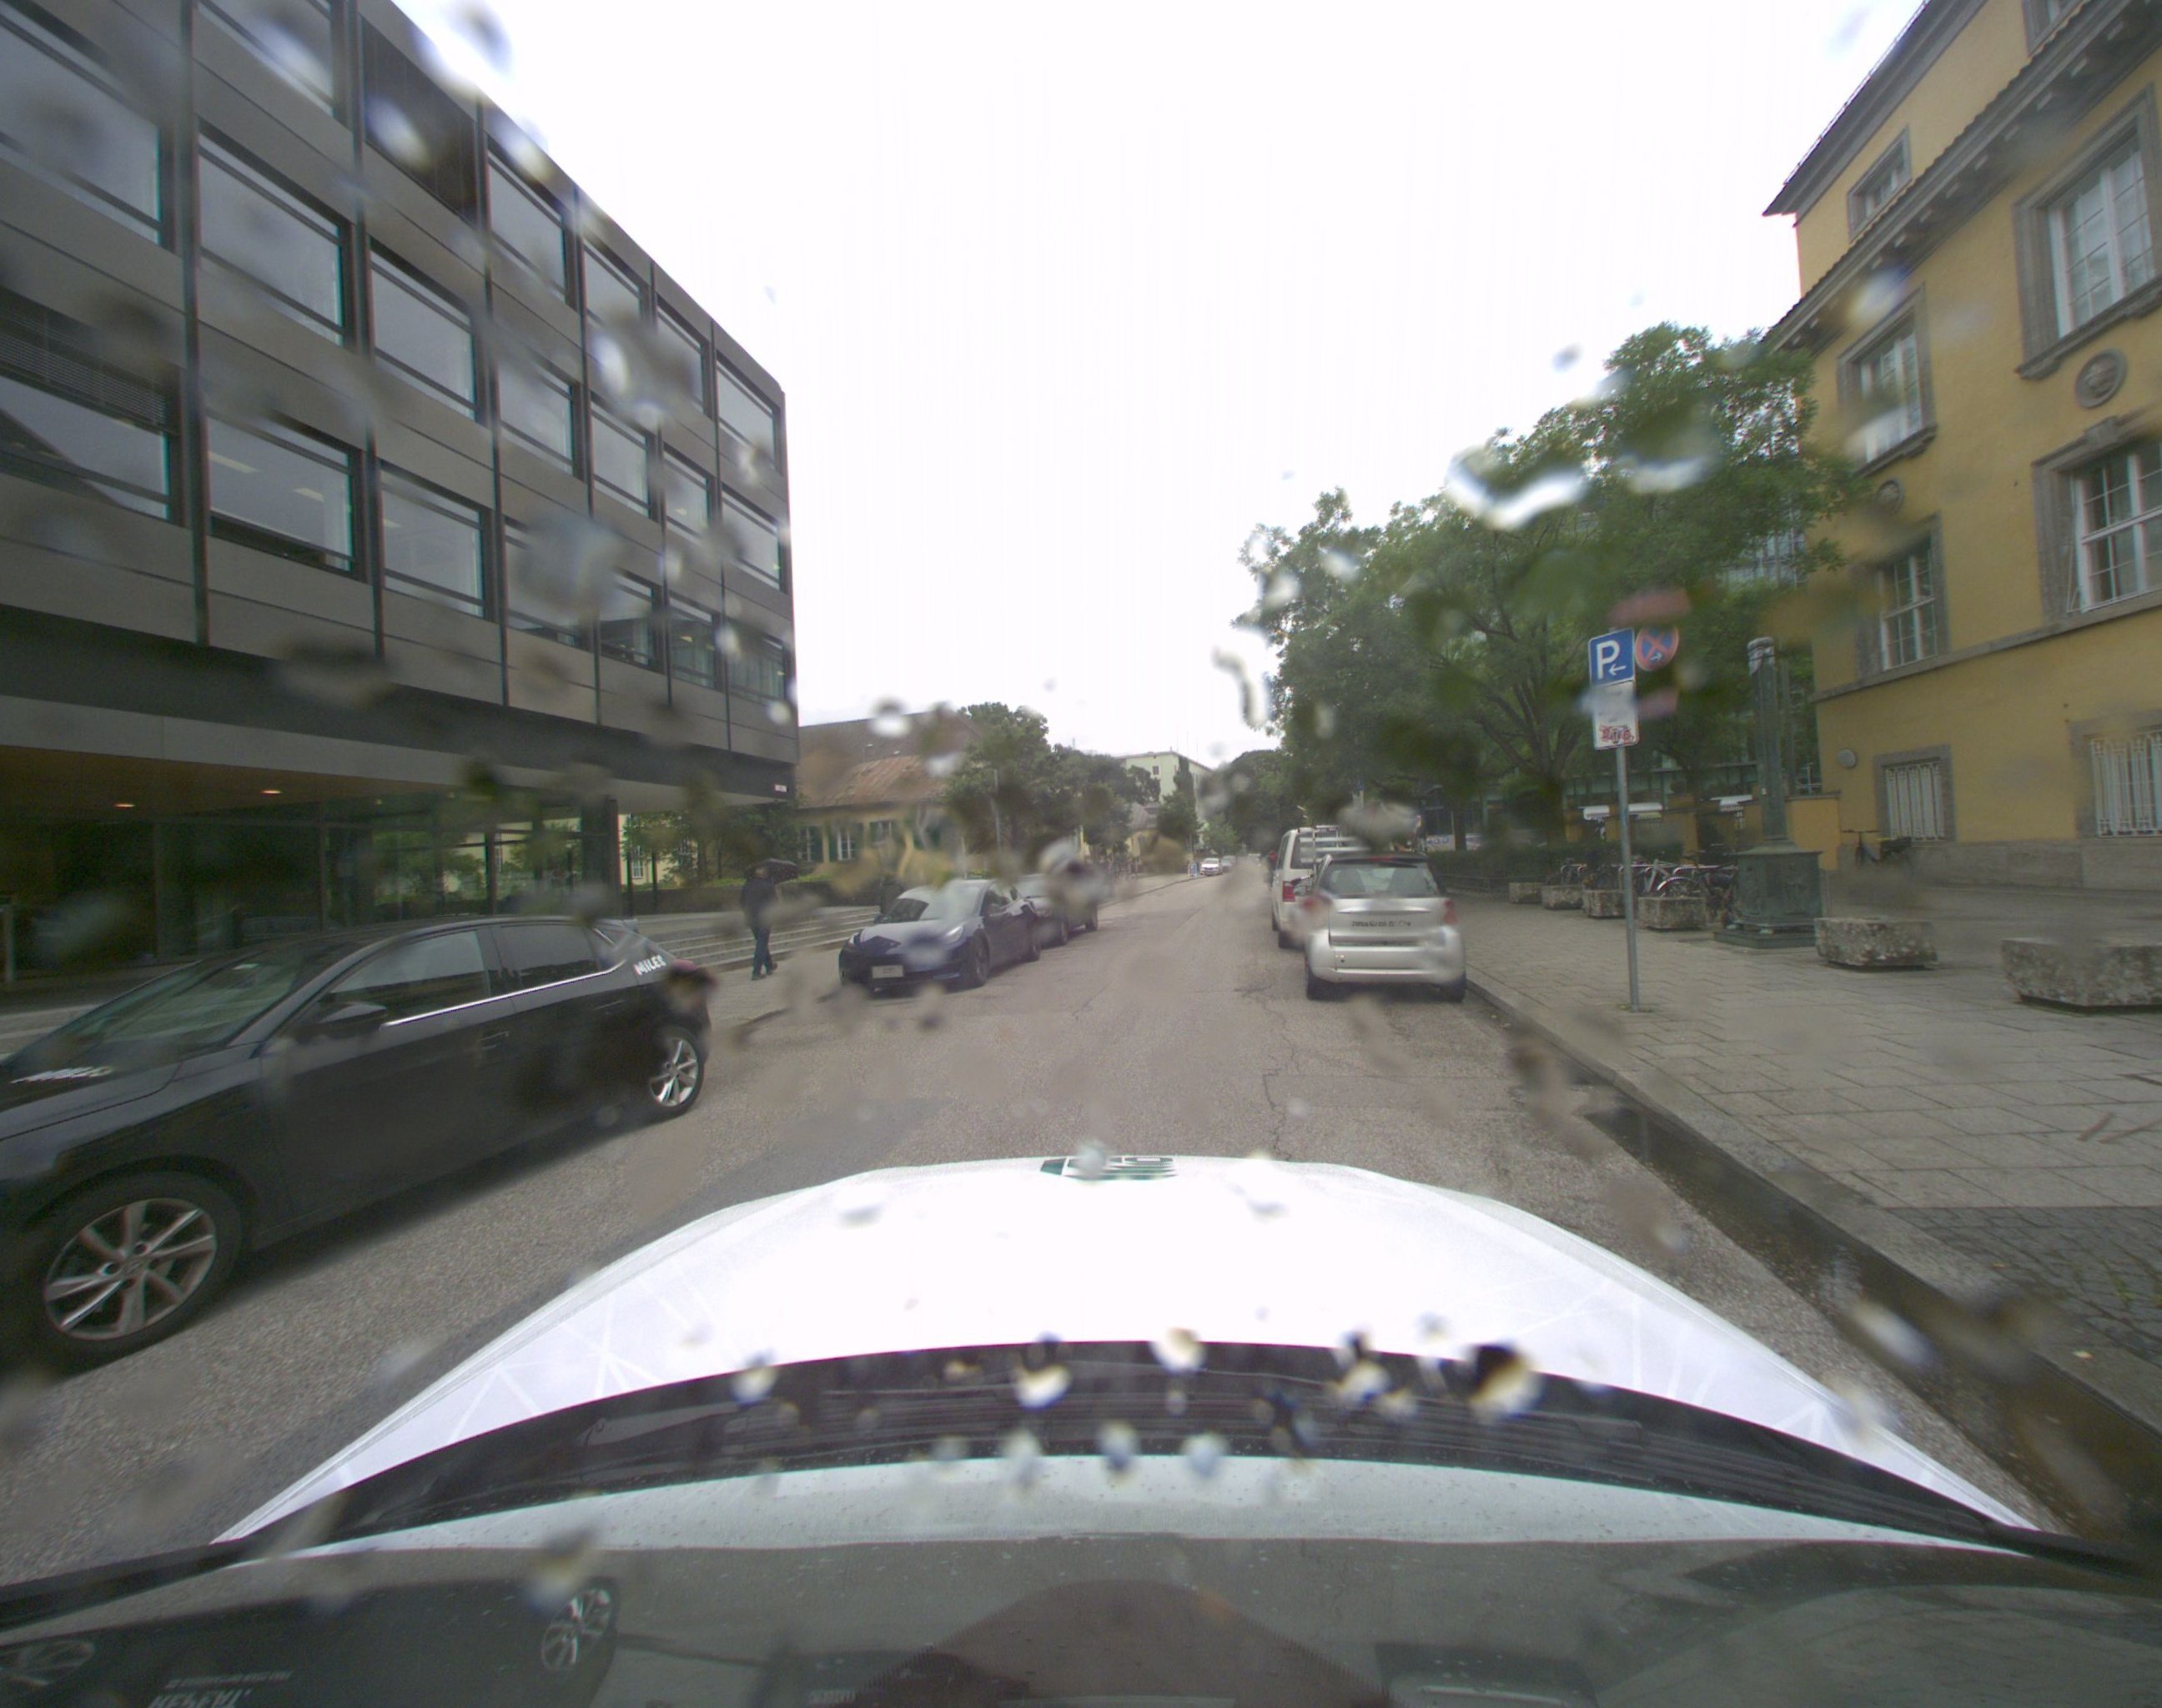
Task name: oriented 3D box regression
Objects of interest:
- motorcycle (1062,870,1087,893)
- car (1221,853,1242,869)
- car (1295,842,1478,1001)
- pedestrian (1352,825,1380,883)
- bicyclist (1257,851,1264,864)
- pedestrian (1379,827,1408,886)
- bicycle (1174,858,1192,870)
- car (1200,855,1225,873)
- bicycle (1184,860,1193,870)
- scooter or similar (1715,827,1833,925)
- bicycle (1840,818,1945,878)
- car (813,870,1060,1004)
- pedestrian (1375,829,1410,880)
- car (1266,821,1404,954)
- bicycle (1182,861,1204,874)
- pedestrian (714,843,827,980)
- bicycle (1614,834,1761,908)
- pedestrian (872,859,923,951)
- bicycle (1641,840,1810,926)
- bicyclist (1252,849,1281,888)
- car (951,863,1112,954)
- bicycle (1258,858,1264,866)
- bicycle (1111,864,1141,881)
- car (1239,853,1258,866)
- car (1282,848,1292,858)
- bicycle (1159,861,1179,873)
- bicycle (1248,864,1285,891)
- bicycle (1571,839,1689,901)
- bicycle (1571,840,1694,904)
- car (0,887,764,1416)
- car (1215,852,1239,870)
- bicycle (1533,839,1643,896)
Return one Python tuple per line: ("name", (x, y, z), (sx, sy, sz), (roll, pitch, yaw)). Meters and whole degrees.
("motorcycle", (-0.322, 1.353, 40.762), (0.559, 1.101, 1.824), (-2, -1, -24))
("car", (16.580, 0.808, 89.574), (1.979, 1.603, 4.015), (-3, -1, 14))
("car", (3.399, 0.666, 9.531), (1.594, 1.546, 2.944), (-1, 0, 13))
("pedestrian", (10.983, 0.010, 31.382), (0.737, 2.135, 1.059), (-4, -1, 12))
("bicyclist", (22.595, 0.477, 102.588), (0.738, 1.576, 0.980), (-4, -1, 11))
("pedestrian", (11.814, 0.091, 30.828), (0.737, 2.135, 1.059), (-4, -1, 12))
("bicycle", (9.902, 0.998, 79.209), (1.622, 1.004, 0.618), (-6, 0, -27))
("car", (11.726, 0.878, 72.275), (1.720, 1.581, 3.803), (0, 0, 16))
("bicycle", (11.132, 1.182, 84.458), (0.616, 1.004, 1.626), (-3, -2, 19))
("scooter or similar", (9.243, 0.296, 10.886), (0.540, 1.222, 1.002), (-4, -1, -32))
("bicycle", (16.880, -0.124, 17.012), (0.538, 1.154, 1.908), (-4, 0, 12))
("car", (-1.860, 1.069, 12.380), (1.910, 1.439, 4.933), (-5, -2, 11))
("pedestrian", (12.265, 0.024, 32.080), (1.062, 1.907, 0.736), (-3, -1, -42))
("car", (4.313, 0.491, 14.568), (1.833, 1.933, 5.290), (-1, 0, 12))
("bicycle", (9.357, 1.126, 68.162), (2.152, 1.004, 0.616), (-1, 1, -44))
("pedestrian", (-4.918, 0.887, 12.985), (1.127, 2.055, 1.225), (-2, -1, 12))
("bicycle", (10.374, 0.297, 13.985), (1.917, 1.113, 0.473), (-5, -1, 14))
("pedestrian", (-3.664, 1.001, 16.302), (0.751, 1.749, 0.952), (-3, -1, -3))
("bicycle", (9.573, 0.437, 12.141), (1.920, 1.113, 0.472), (-5, -1, 9))
("bicyclist", (7.488, 0.586, 32.820), (0.665, 1.498, 1.102), (-5, -3, 35))
("car", (-0.855, 1.055, 17.565), (1.979, 1.491, 4.901), (-5, -1, 14))
("bicycle", (22.655, 0.994, 102.551), (0.617, 1.004, 2.147), (-4, -1, 12))
("bicycle", (2.998, 1.219, 54.266), (1.916, 1.099, 0.617), (-1, 0, 15))
("car", (21.955, 0.684, 106.521), (1.978, 1.486, 4.018), (-4, -1, 17))
("car", (43.687, -0.231, 172.667), (1.979, 2.099, 4.016), (-1, 0, 15))
("bicycle", (7.843, 1.167, 72.885), (1.615, 0.926, 0.649), (-3, -2, -12))
("bicycle", (7.488, 0.943, 32.770), (0.615, 1.004, 2.154), (-5, -3, 35))
("bicycle", (11.380, 0.336, 16.936), (1.918, 1.113, 0.473), (-5, -1, 14))
("bicycle", (10.946, 0.363, 16.219), (1.917, 1.113, 0.473), (-5, -1, 14))
("car", (-3.815, 1.074, 4.283), (1.727, 1.461, 4.253), (-6, -1, 14))
("car", (15.164, 0.696, 84.454), (1.978, 1.648, 4.675), (-3, -1, 16))
("bicycle", (11.455, 0.311, 18.450), (2.019, 1.113, 0.472), (-5, -1, 9))
